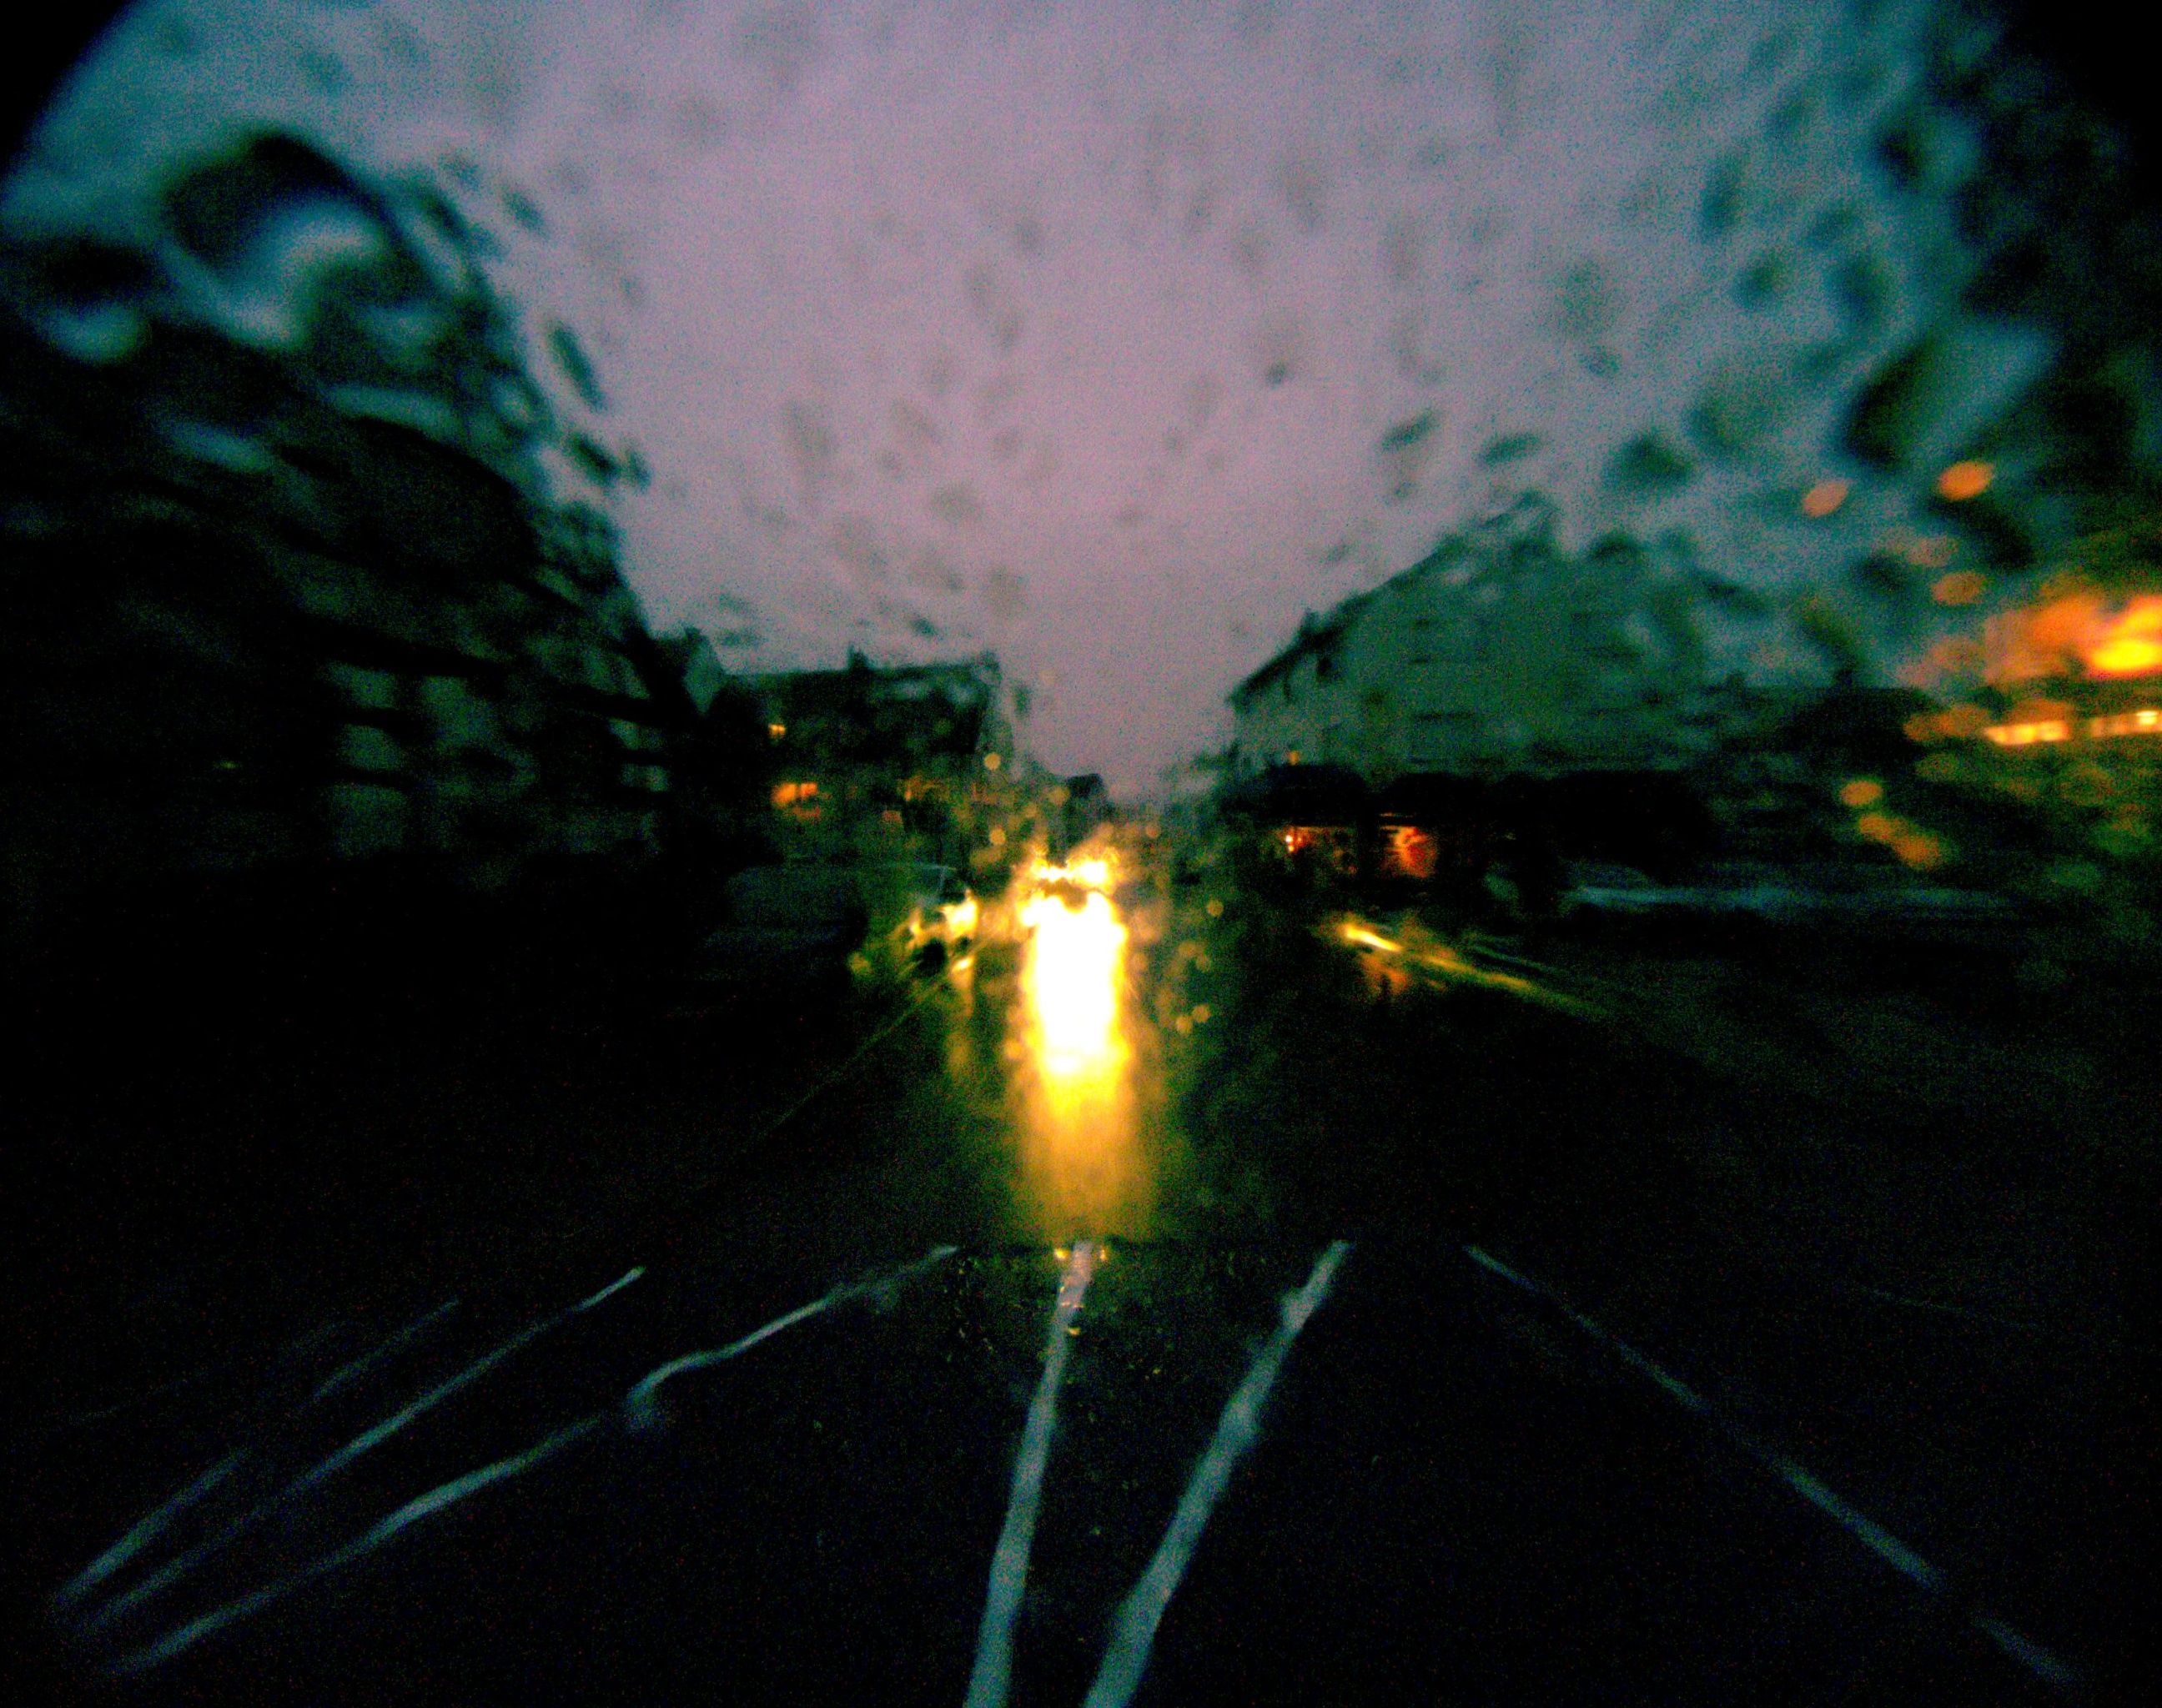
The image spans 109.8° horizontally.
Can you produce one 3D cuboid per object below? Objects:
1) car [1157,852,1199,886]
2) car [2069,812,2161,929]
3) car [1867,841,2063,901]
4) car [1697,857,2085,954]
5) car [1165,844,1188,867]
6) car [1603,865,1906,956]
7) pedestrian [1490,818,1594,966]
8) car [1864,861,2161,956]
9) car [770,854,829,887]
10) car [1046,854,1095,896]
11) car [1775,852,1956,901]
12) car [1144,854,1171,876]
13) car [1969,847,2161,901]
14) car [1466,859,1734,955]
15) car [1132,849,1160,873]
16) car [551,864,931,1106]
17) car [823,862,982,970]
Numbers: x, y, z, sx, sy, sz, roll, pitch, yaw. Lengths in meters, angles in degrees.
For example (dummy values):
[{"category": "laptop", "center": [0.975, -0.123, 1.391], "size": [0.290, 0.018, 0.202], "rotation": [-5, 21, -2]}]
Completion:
[{"category": "car", "center": [4.954, 0.742, 39.278], "size": [1.725, 1.605, 3.816], "rotation": [-3, 0, 1]}, {"category": "car", "center": [27.789, 0.351, 17.657], "size": [6.759, 2.647, 1.977], "rotation": [0, 2, 2]}, {"category": "car", "center": [29.762, 0.574, 25.765], "size": [1.705, 1.859, 3.966], "rotation": [0, -1, -19]}, {"category": "car", "center": [14.584, 0.853, 14.300], "size": [2.107, 1.490, 5.047], "rotation": [0, -1, 3]}, {"category": "car", "center": [11.800, 0.157, 93.749], "size": [2.044, 2.644, 4.215], "rotation": [-3, 0, 16]}, {"category": "car", "center": [11.850, 0.916, 13.876], "size": [1.701, 1.392, 4.452], "rotation": [0, -1, 2]}, {"category": "pedestrian", "center": [6.434, 0.501, 10.655], "size": [1.199, 1.927, 0.978], "rotation": [0, 0, 30]}, {"category": "car", "center": [17.267, 0.888, 13.836], "size": [1.701, 1.455, 4.453], "rotation": [0, -1, 6]}, {"category": "car", "center": [-13.088, 0.734, 35.184], "size": [1.798, 1.459, 4.214], "rotation": [1, -1, -31]}, {"category": "car", "center": [-0.396, 0.819, 31.403], "size": [1.878, 1.622, 4.000], "rotation": [-1, 0, 0]}, {"category": "car", "center": [26.695, 0.760, 26.049], "size": [1.705, 1.529, 3.966], "rotation": [0, -1, -19]}, {"category": "car", "center": [5.597, 0.806, 55.604], "size": [1.798, 1.448, 4.396], "rotation": [-2, 0, 6]}, {"category": "car", "center": [32.633, 0.658, 25.074], "size": [1.705, 1.643, 3.966], "rotation": [0, -1, -19]}, {"category": "car", "center": [9.249, 0.879, 14.097], "size": [1.768, 1.490, 4.450], "rotation": [0, -1, -3]}, {"category": "car", "center": [5.573, 0.634, 64.934], "size": [1.883, 1.888, 4.838], "rotation": [-2, -1, 9]}, {"category": "car", "center": [-2.746, 0.928, 7.365], "size": [1.769, 1.517, 4.388], "rotation": [1, 1, -1]}, {"category": "car", "center": [-2.851, 0.926, 13.021], "size": [1.736, 1.450, 4.000], "rotation": [1, 1, 0]}]
